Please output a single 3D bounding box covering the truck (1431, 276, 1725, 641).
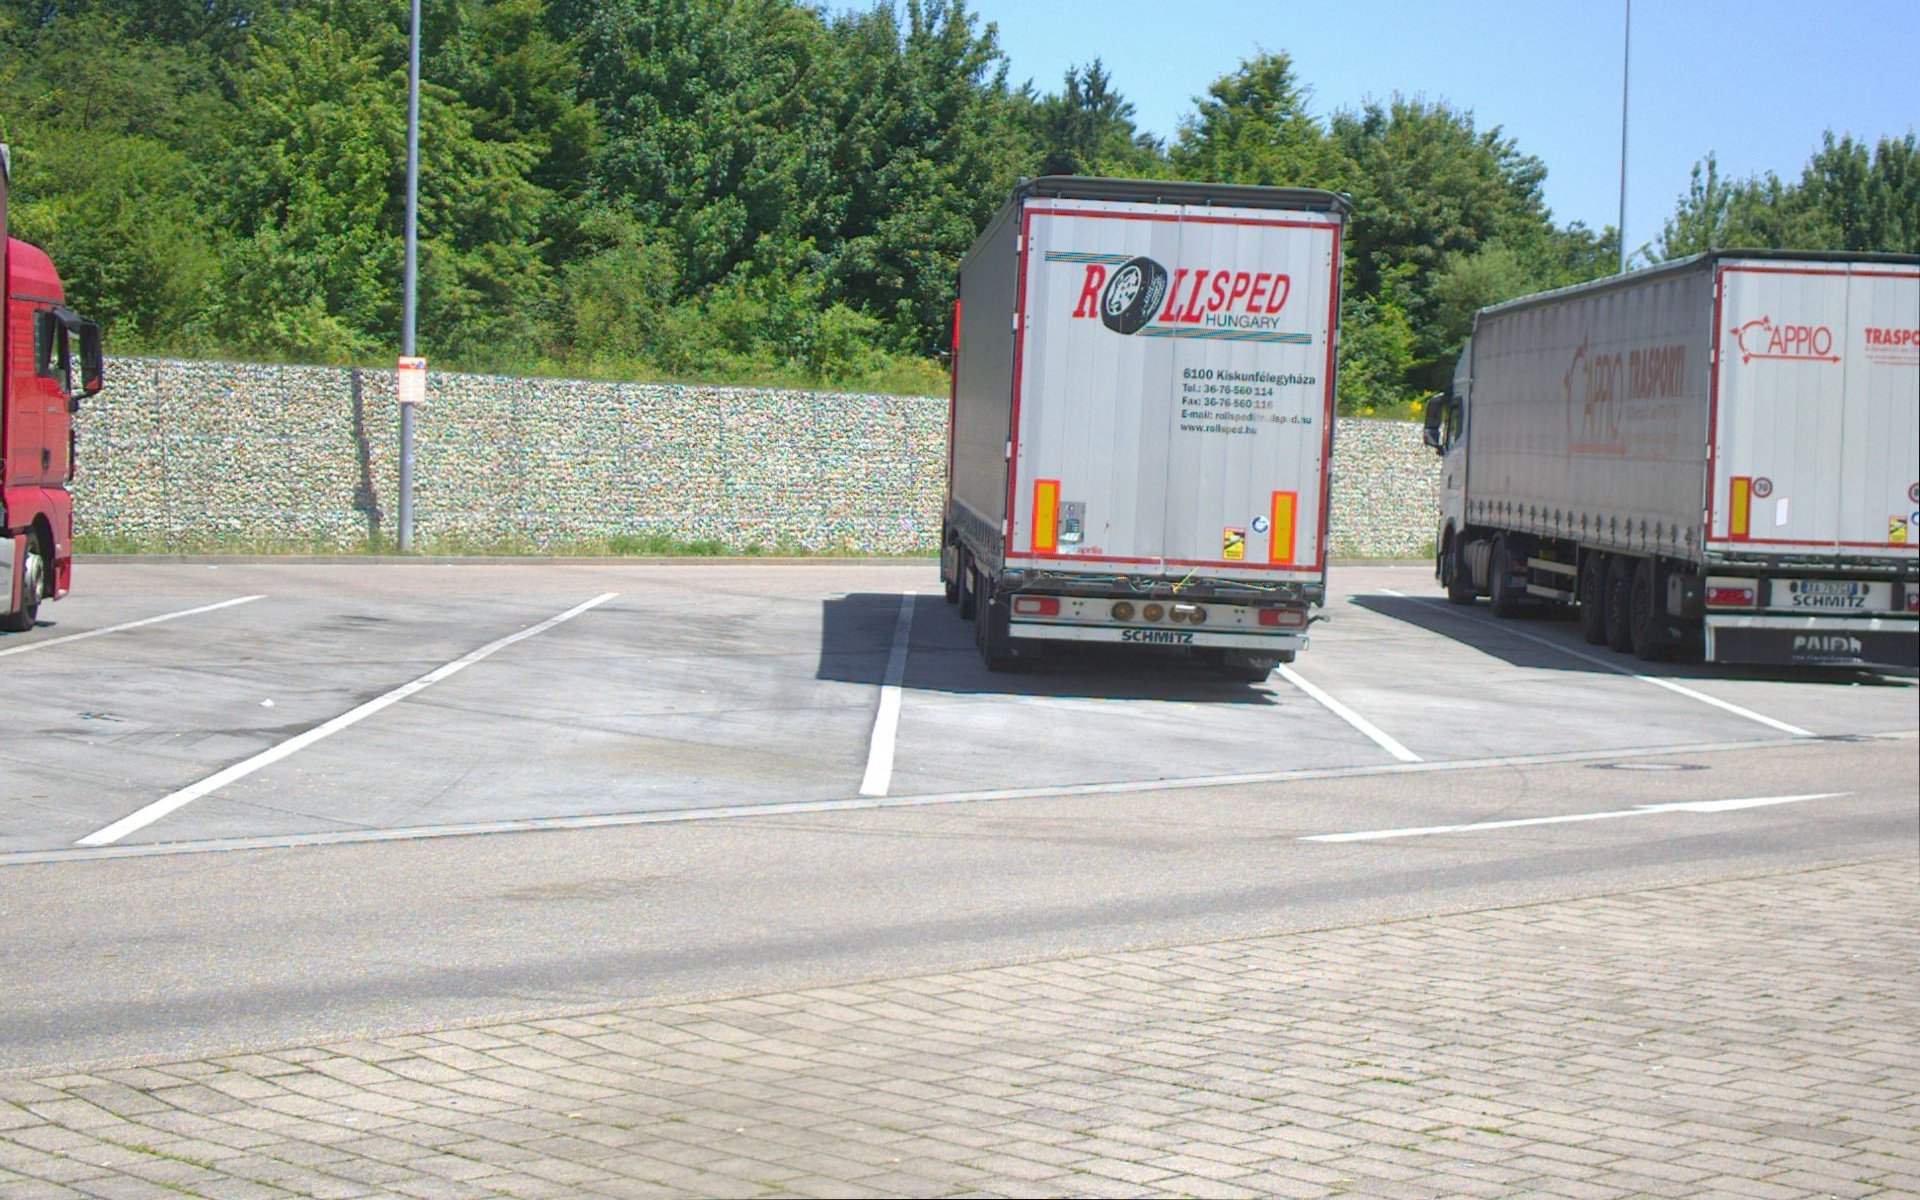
[{"bbox_3d":[7.982,-1.826,45.116,2.661,4.437,5.864,1,2,-1],"label":"truck"}]

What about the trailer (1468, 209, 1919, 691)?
[{"bbox_3d":[8.111,-1.585,38.282,2.681,4.437,12.831,1,2,-1],"label":"trailer"}]

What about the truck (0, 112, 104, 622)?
[{"bbox_3d":[-9.173,-1.909,28.346,2.805,4.119,5.894,1,2,-1],"label":"truck"}]

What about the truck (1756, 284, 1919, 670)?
[{"bbox_3d":[11.731,-1.341,38.687,2.587,4.211,11.971,1,1,-1],"label":"truck"}]

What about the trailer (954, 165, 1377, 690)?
[{"bbox_3d":[1.566,-1.506,32.076,2.897,4.000,11.319,1,2,-2],"label":"trailer"}]

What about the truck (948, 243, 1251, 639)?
[{"bbox_3d":[1.398,-1.697,37.735,2.871,3.967,6.030,1,2,-2],"label":"truck"}]
